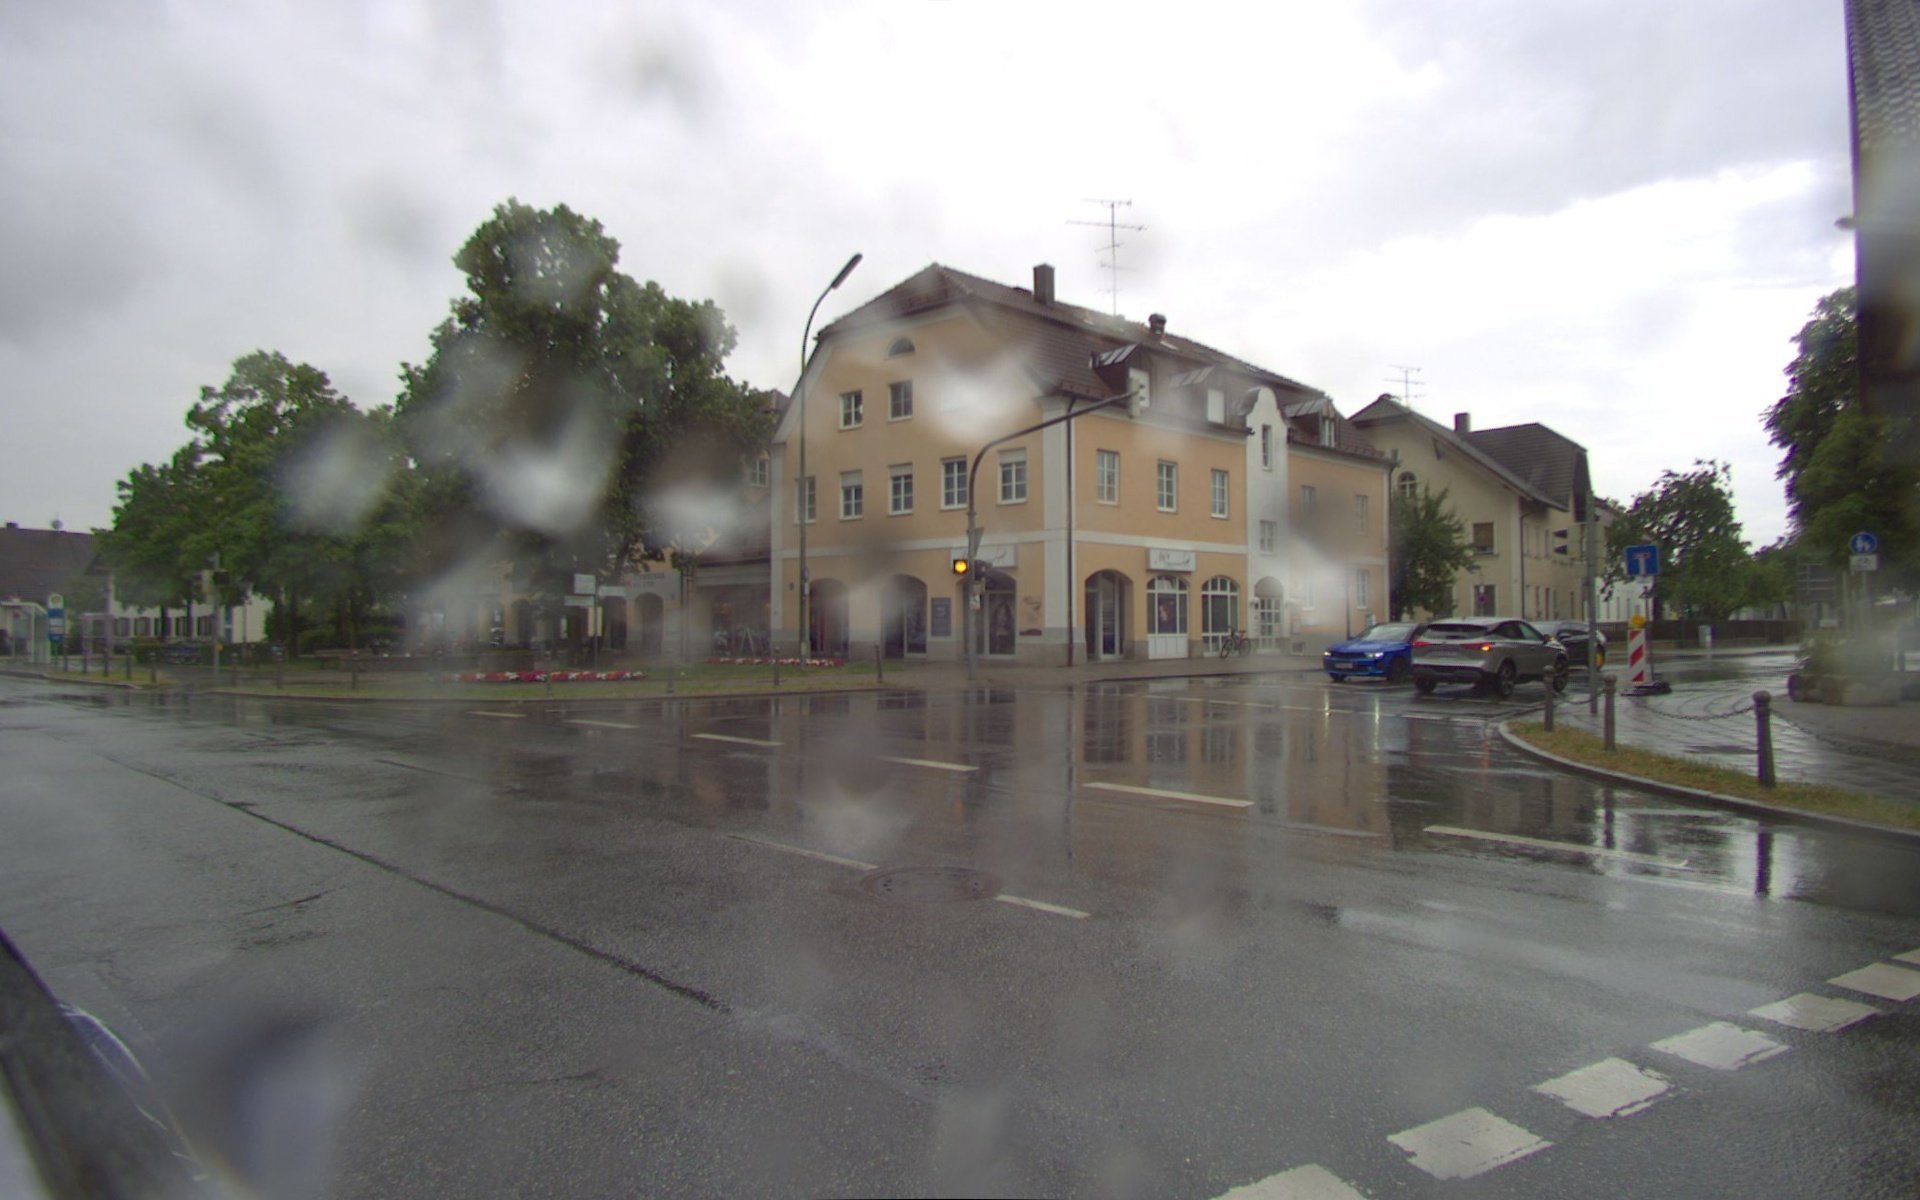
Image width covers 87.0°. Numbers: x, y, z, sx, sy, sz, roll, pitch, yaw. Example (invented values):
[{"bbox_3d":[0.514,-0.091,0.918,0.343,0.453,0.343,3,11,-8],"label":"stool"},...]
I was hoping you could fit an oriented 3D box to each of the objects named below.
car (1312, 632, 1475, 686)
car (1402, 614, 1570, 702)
[{"bbox_3d":[10.762,1.404,25.034,4.288,1.194,1.693,1,-2,-35],"label":"car"},{"bbox_3d":[11.371,1.198,21.754,2.089,1.686,4.323,-1,-3,44],"label":"car"}]
